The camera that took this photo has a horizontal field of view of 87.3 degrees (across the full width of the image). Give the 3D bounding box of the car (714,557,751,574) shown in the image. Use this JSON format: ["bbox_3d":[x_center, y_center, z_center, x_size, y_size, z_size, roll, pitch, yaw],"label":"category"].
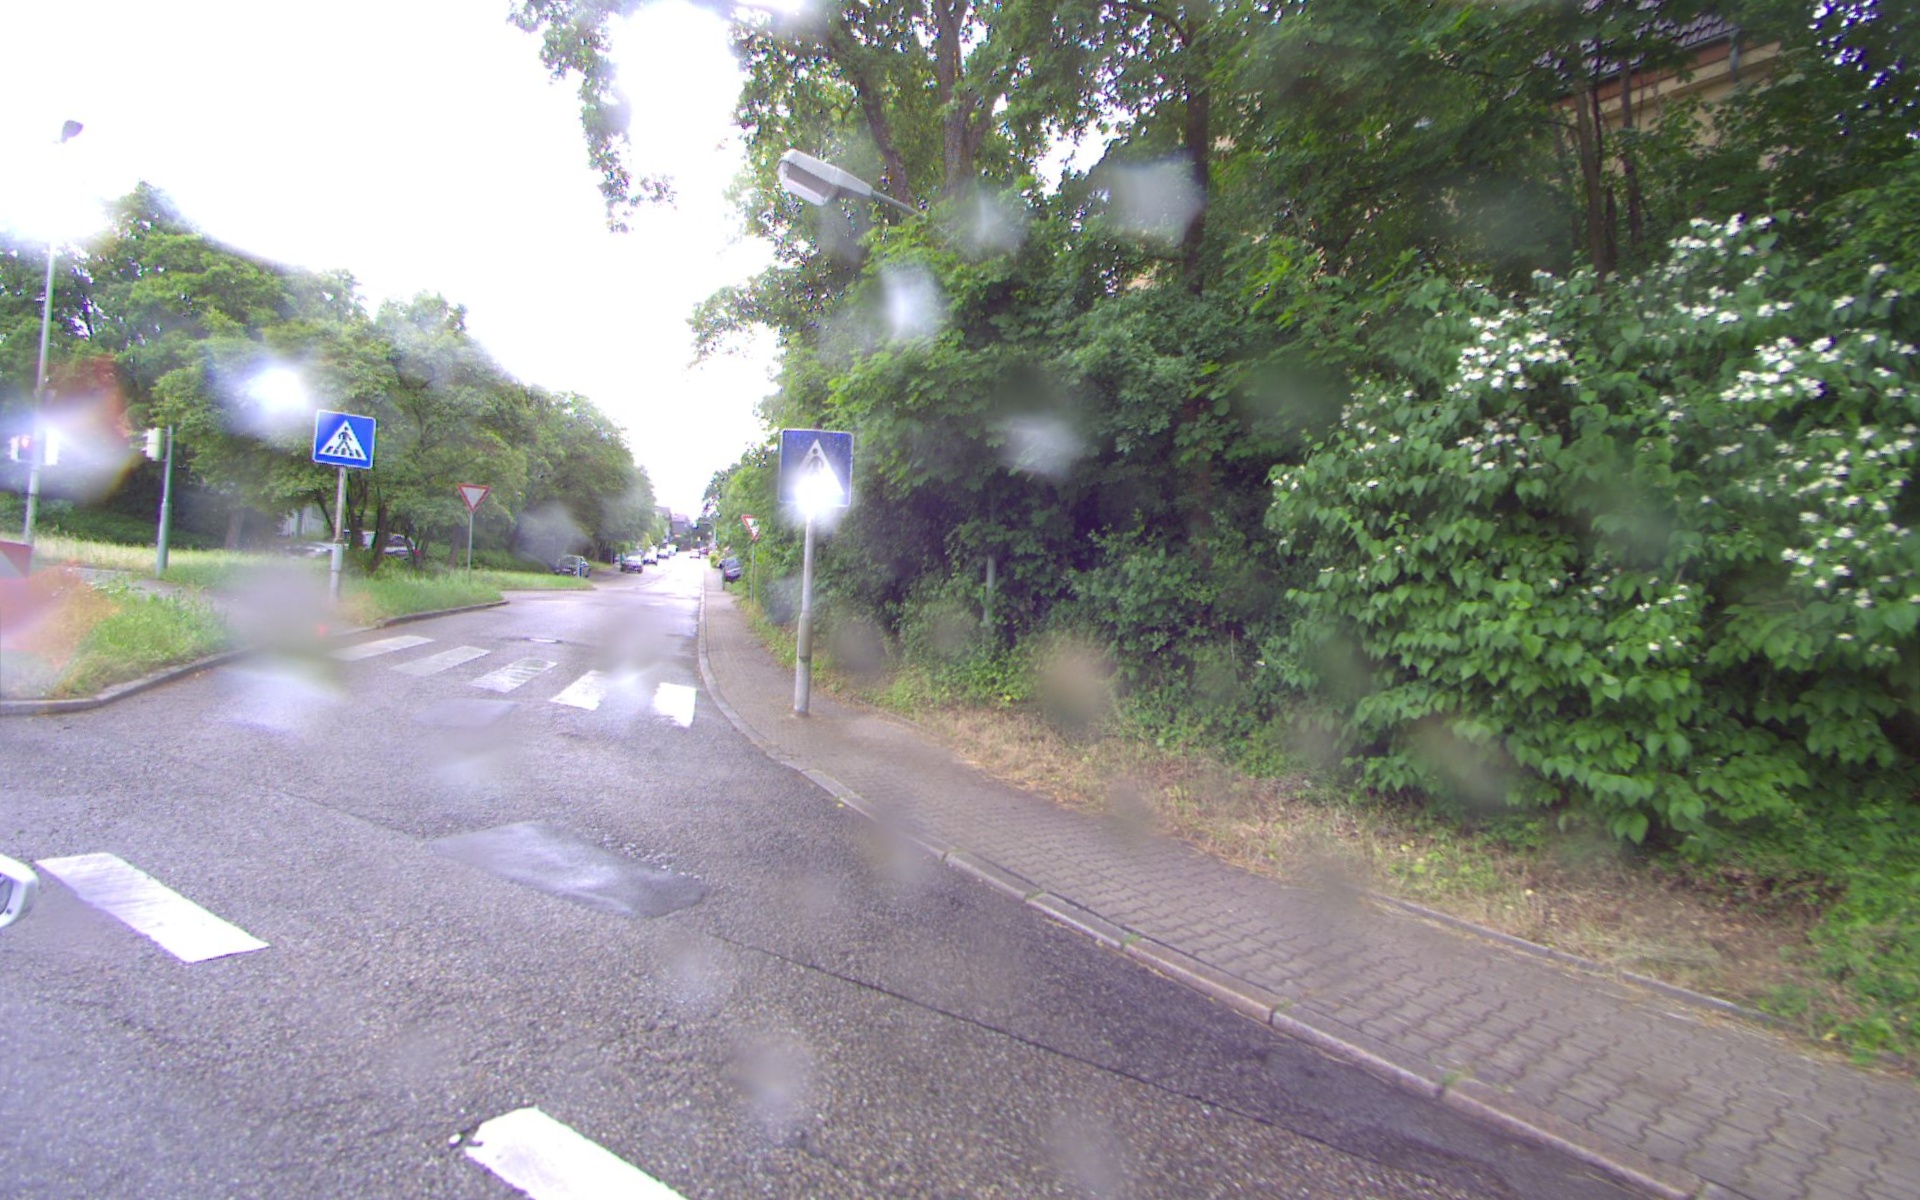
[{"bbox_3d":[-26.307,-4.004,116.409,3.939,1.594,1.766,5,1,-18],"label":"car"}]

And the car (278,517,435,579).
[{"bbox_3d":[-22.470,-1.887,37.697,1.963,1.738,4.714,7,0,23],"label":"car"}]

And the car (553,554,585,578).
[{"bbox_3d":[-26.425,-2.280,68.058,1.651,1.387,3.477,6,0,-16],"label":"car"}]

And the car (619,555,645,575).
[{"bbox_3d":[-30.642,-3.276,94.050,1.874,1.467,4.285,7,-2,-13],"label":"car"}]

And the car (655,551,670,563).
[{"bbox_3d":[-47.312,-6.828,159.819,1.877,1.413,4.151,7,-2,-20],"label":"car"}]

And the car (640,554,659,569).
[{"bbox_3d":[-38.246,-4.739,123.961,1.968,1.463,4.278,7,-2,-19],"label":"car"}]
